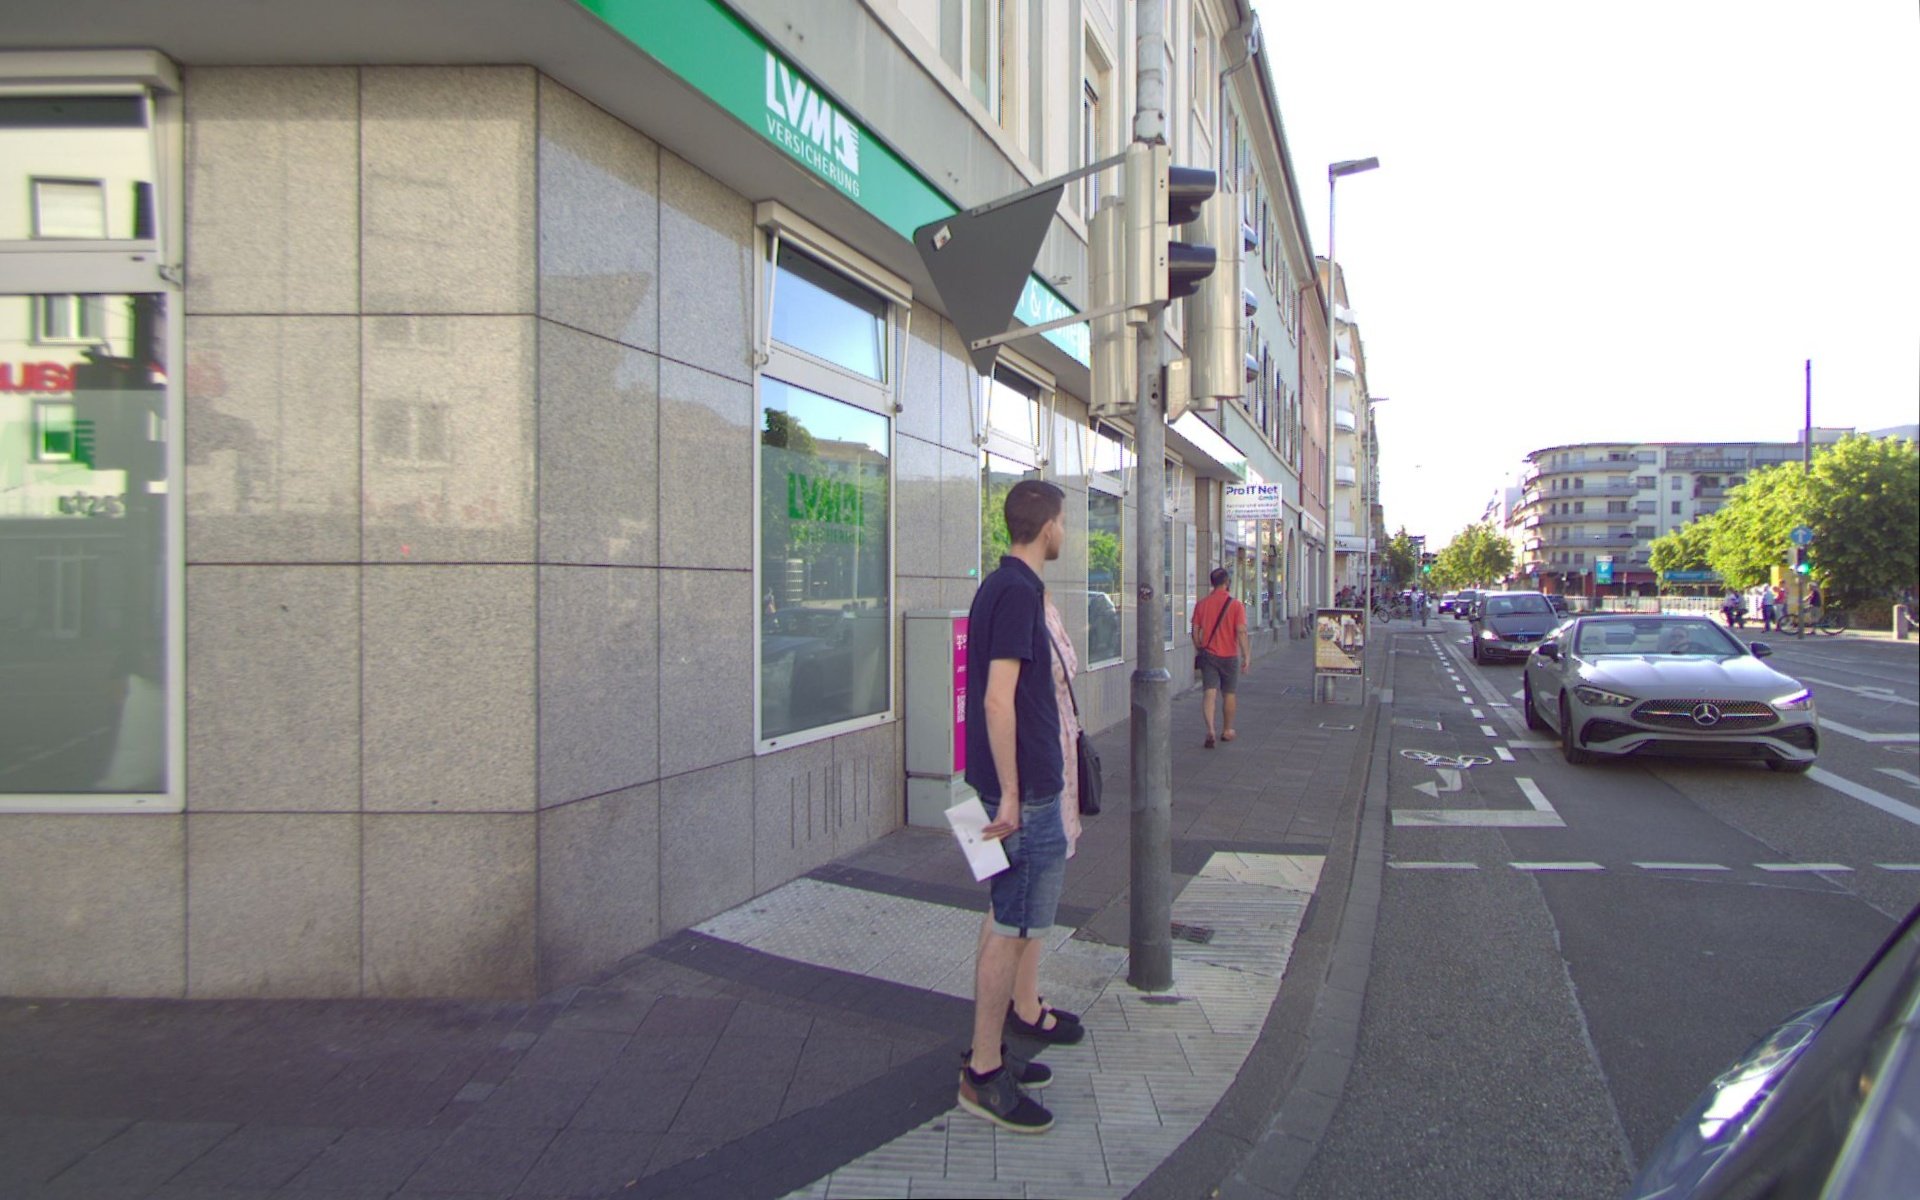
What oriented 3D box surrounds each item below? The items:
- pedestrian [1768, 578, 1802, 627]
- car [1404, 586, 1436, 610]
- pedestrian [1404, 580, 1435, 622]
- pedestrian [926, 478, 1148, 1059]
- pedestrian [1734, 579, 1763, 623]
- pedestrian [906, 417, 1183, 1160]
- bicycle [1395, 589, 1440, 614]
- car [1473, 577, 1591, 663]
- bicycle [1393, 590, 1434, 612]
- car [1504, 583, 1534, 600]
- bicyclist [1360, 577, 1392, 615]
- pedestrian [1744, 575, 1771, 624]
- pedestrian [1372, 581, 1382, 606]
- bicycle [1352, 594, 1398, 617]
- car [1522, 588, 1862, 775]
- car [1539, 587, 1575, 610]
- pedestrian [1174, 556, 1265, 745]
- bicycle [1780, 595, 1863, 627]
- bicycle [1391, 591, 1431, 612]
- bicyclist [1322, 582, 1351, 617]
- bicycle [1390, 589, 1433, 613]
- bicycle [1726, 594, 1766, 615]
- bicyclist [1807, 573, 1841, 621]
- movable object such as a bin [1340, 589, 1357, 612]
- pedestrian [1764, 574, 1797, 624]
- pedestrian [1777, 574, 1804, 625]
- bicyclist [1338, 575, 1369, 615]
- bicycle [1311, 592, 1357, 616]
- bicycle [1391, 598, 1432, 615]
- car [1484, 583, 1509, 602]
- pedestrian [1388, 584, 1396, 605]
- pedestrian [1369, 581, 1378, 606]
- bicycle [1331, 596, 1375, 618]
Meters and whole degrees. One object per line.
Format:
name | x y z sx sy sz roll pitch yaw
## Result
pedestrian | 31.359 0.078 38.461 0.577 1.834 0.785 0 0 -19
car | 28.185 -0.108 61.962 1.677 1.416 3.965 0 0 26
pedestrian | 18.712 0.023 41.215 0.751 1.679 0.816 -1 0 -29
pedestrian | 0.287 0.515 3.516 0.568 1.781 0.644 -1 0 24
pedestrian | 30.460 0.045 39.095 0.684 1.695 0.688 0 0 -34
pedestrian | 0.273 0.470 2.987 0.635 1.865 0.676 0 0 24
bicycle | 23.910 0.078 52.944 2.117 1.260 0.706 0 0 21
car | 12.845 0.387 22.962 1.979 1.749 3.966 0 0 25
bicycle | 24.811 0.045 55.347 2.007 1.164 0.709 1 0 26
car | 50.243 -0.780 91.044 1.733 1.441 4.225 -2 0 21
bicyclist | 18.986 -0.194 46.238 0.713 1.706 1.131 0 0 -38
pedestrian | 31.107 -0.031 39.454 0.613 1.881 0.652 0 0 -34
pedestrian | 32.700 -0.487 79.300 0.686 1.930 0.900 -1 0 21
bicycle | 18.982 0.227 46.341 0.550 1.032 1.914 0 0 -37
car | 7.136 0.660 10.422 1.890 1.481 4.329 -2 0 24
car | 41.486 -0.097 70.380 1.638 1.414 4.010 5 3 24
pedestrian | 2.523 0.453 9.788 0.685 1.724 0.904 1 0 25
bicycle | 30.574 0.396 35.937 0.751 1.086 2.170 -1 0 -44
bicycle | 25.112 0.075 56.378 2.030 1.196 0.677 0 0 26
bicyclist | 17.559 -0.034 47.194 0.714 1.603 1.028 0 0 -43
bicycle | 23.175 0.042 51.962 1.922 1.227 0.927 0 0 20
bicycle | 38.688 0.210 49.834 1.525 1.044 0.359 0 0 40
bicyclist | 30.614 -0.107 35.860 0.977 1.669 0.803 -1 0 -44
movable object such as a bin | 19.728 0.027 51.365 0.801 1.126 0.615 -1 0 23
pedestrian | 30.716 -0.043 37.903 0.578 1.834 0.784 -1 0 -1
pedestrian | 32.127 -0.036 39.161 0.603 1.942 0.777 -1 0 26
bicyclist | 17.861 -0.225 45.916 1.120 1.783 0.753 -1 0 3
bicycle | 17.476 0.187 47.312 0.721 1.110 1.915 0 0 -43
bicycle | 23.025 0.309 51.658 1.824 0.842 0.737 0 0 20
car | 58.301 -0.848 110.024 1.978 1.971 4.745 3 2 23
pedestrian | 40.756 -0.494 95.478 0.686 1.930 0.900 -1 0 21
pedestrian | 32.722 -0.522 80.107 0.665 1.978 0.610 -1 0 21
bicycle | 17.839 0.313 45.950 1.789 1.006 0.564 -1 0 3
